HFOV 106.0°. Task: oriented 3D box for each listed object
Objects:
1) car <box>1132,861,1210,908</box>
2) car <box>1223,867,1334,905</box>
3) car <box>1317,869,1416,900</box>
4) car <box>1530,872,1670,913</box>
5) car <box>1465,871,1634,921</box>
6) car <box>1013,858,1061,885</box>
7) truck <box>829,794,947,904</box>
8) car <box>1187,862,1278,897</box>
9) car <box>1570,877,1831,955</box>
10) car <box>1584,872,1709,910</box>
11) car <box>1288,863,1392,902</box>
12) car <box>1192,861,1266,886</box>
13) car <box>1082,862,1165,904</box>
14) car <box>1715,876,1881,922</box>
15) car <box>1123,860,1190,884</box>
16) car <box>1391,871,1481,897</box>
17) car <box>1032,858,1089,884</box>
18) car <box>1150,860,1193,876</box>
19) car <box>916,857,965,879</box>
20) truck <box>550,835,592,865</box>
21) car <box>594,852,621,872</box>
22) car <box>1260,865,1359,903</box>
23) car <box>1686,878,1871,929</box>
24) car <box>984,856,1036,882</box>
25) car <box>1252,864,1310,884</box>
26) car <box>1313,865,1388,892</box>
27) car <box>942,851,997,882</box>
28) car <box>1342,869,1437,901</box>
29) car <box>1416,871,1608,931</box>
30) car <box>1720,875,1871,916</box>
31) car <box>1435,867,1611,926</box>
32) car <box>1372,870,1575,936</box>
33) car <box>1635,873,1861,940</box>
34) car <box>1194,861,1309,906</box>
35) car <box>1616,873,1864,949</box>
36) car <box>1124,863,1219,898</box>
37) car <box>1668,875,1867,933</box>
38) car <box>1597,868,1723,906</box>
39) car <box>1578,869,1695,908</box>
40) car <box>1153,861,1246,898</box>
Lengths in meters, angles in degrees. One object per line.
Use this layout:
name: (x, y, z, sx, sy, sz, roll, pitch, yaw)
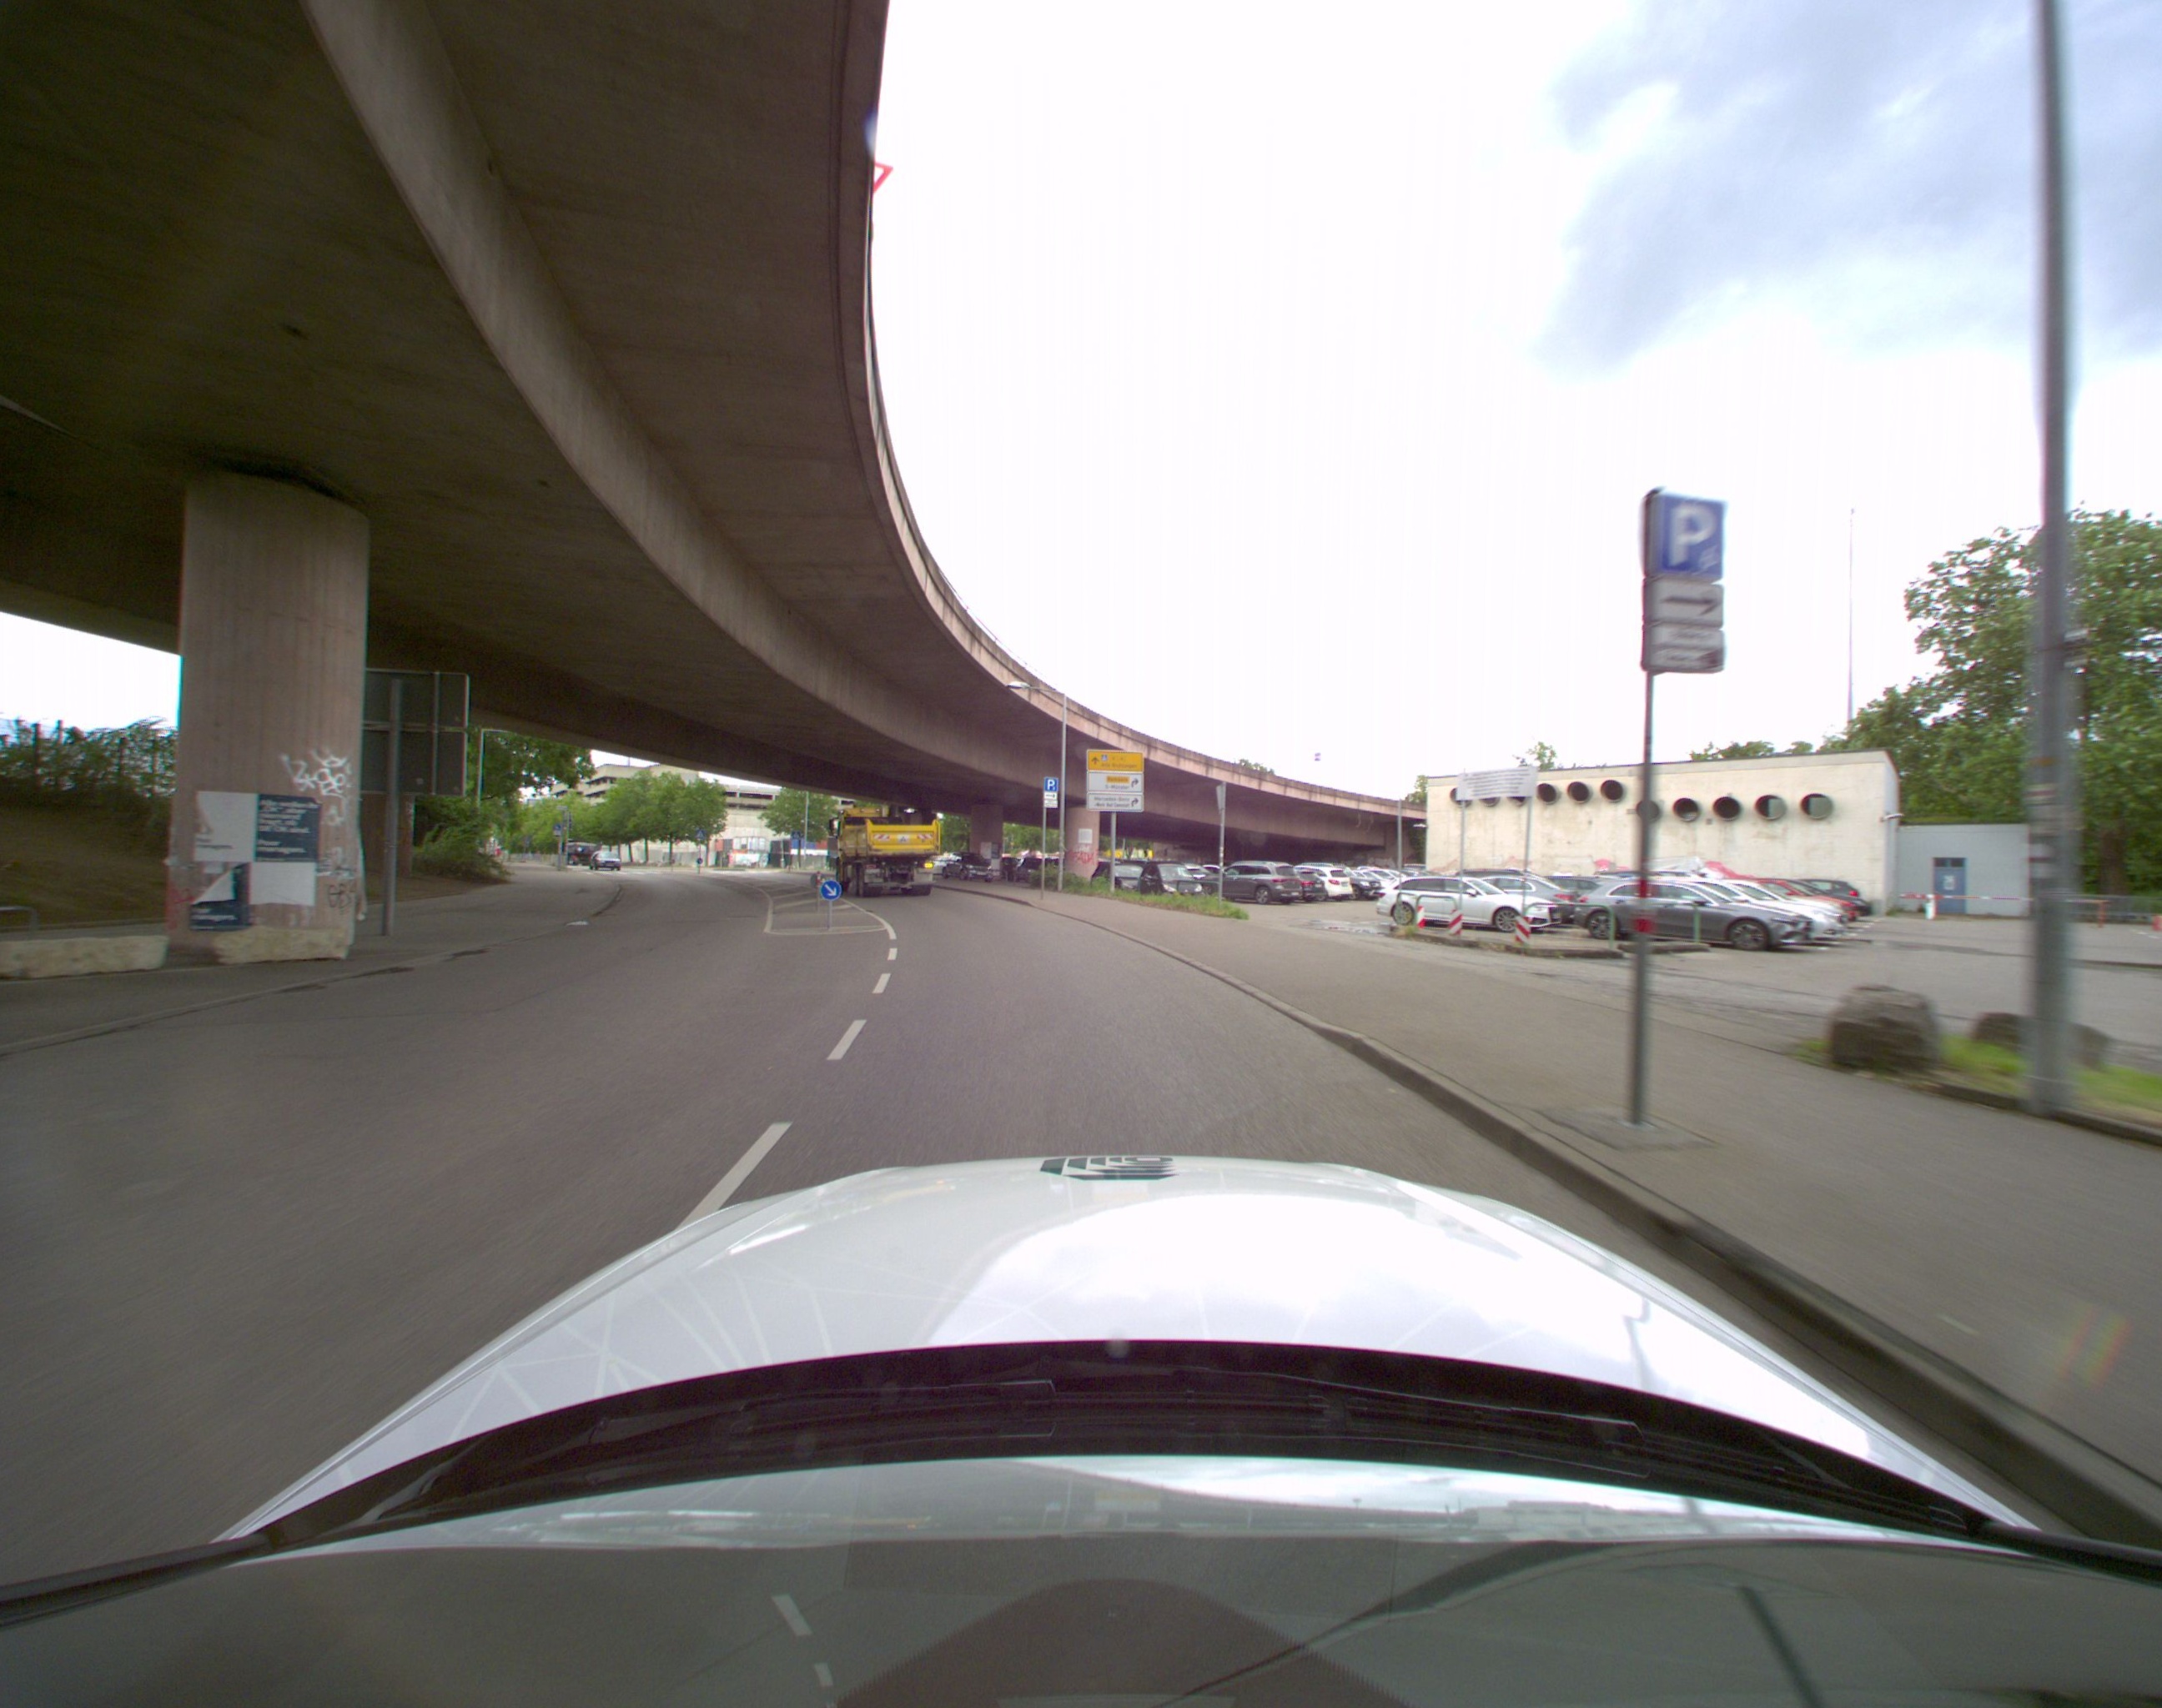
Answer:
car: (2.937, 0.975, 27.070, 1.544, 1.479, 2.743, 1, -1, -19)
car: (8.511, 1.347, 35.380, 1.766, 1.449, 4.405, 2, -1, -42)
car: (13.996, 1.468, 40.158, 1.640, 1.363, 4.353, 2, -1, -42)
car: (20.560, 1.487, 32.426, 1.795, 1.392, 4.383, 2, -1, -42)
car: (15.687, 1.342, 27.450, 1.868, 1.444, 4.565, 2, -1, -42)
car: (-2.660, 1.042, 47.926, 1.791, 1.507, 3.833, 3, -2, -19)
truck: (-7.683, -0.154, 31.510, 2.772, 3.698, 7.812, -1, 0, -26)
car: (7.448, 1.213, 40.269, 1.848, 1.592, 4.141, 2, -1, -42)
car: (13.807, 1.291, 18.372, 1.848, 1.425, 4.390, 2, -1, -40)
car: (23.224, 1.484, 33.537, 1.779, 1.392, 3.928, 2, -1, -42)
car: (12.252, 1.313, 38.730, 1.766, 1.691, 4.378, 2, -1, -42)
car: (10.752, 1.391, 59.553, 2.102, 1.677, 5.045, 2, -1, -42)
car: (1.552, 1.075, 31.377, 1.735, 1.479, 4.223, 1, -1, -18)
car: (26.449, 1.605, 30.165, 1.848, 1.425, 4.390, 2, -1, -40)
car: (4.812, 1.144, 52.282, 1.848, 1.466, 4.141, 2, -1, -42)
car: (19.445, 1.623, 44.710, 1.718, 1.305, 4.210, 2, -1, -42)
car: (-1.434, 1.145, 55.624, 1.848, 1.698, 3.815, 2, -1, -42)
car: (8.738, 1.379, 79.092, 3.813, 1.478, 1.769, 1, -1, 41)
car: (-10.622, 1.062, 61.484, 3.961, 1.552, 1.648, 0, -1, 44)
truck: (-64.170, -0.425, 102.423, 7.824, 3.558, 2.698, -2, 0, 45)
car: (-35.865, 0.573, 61.693, 1.687, 1.430, 3.961, 1, -1, -30)
car: (10.373, 1.331, 37.185, 1.766, 1.557, 4.038, 2, -1, -42)
car: (22.944, 1.560, 26.933, 1.848, 1.425, 4.390, 2, -1, -40)
car: (-4.599, 0.944, 52.226, 1.538, 1.500, 3.334, 5, -3, -42)
car: (15.791, 1.564, 64.545, 1.848, 1.466, 4.141, 2, -1, -42)
car: (17.056, 1.506, 51.669, 1.848, 1.592, 4.141, 2, -1, -42)
car: (-6.016, 0.651, 43.523, 1.617, 1.533, 3.376, 3, -2, -32)
car: (15.765, 1.549, 41.764, 1.718, 1.509, 4.210, 2, -1, -42)
car: (12.588, 1.296, 24.023, 1.868, 1.475, 4.631, 2, -1, -42)
car: (28.946, 1.650, 33.108, 1.848, 1.425, 4.390, 2, -1, -40)
car: (13.957, 1.268, 25.916, 1.868, 1.628, 4.565, 2, -1, -42)
car: (10.564, 1.247, 22.214, 1.867, 1.475, 4.632, 2, -1, -40)
car: (17.848, 1.321, 21.978, 1.848, 1.513, 4.448, 2, -1, -40)
car: (6.911, 1.175, 33.429, 1.755, 1.675, 4.416, 2, -1, -42)
car: (15.996, 1.294, 19.974, 1.848, 1.513, 4.448, 2, -1, -40)
car: (4.095, 1.175, 37.303, 1.848, 1.421, 4.141, 2, -1, -42)
car: (21.076, 1.464, 25.155, 1.848, 1.513, 4.448, 2, -1, -40)
car: (26.478, 1.473, 37.356, 1.779, 1.533, 4.435, 2, -1, -42)
car: (24.350, 1.482, 35.782, 1.779, 1.533, 3.928, 2, -1, -42)
car: (5.601, 1.173, 38.789, 1.848, 1.592, 4.141, 2, -1, -42)
